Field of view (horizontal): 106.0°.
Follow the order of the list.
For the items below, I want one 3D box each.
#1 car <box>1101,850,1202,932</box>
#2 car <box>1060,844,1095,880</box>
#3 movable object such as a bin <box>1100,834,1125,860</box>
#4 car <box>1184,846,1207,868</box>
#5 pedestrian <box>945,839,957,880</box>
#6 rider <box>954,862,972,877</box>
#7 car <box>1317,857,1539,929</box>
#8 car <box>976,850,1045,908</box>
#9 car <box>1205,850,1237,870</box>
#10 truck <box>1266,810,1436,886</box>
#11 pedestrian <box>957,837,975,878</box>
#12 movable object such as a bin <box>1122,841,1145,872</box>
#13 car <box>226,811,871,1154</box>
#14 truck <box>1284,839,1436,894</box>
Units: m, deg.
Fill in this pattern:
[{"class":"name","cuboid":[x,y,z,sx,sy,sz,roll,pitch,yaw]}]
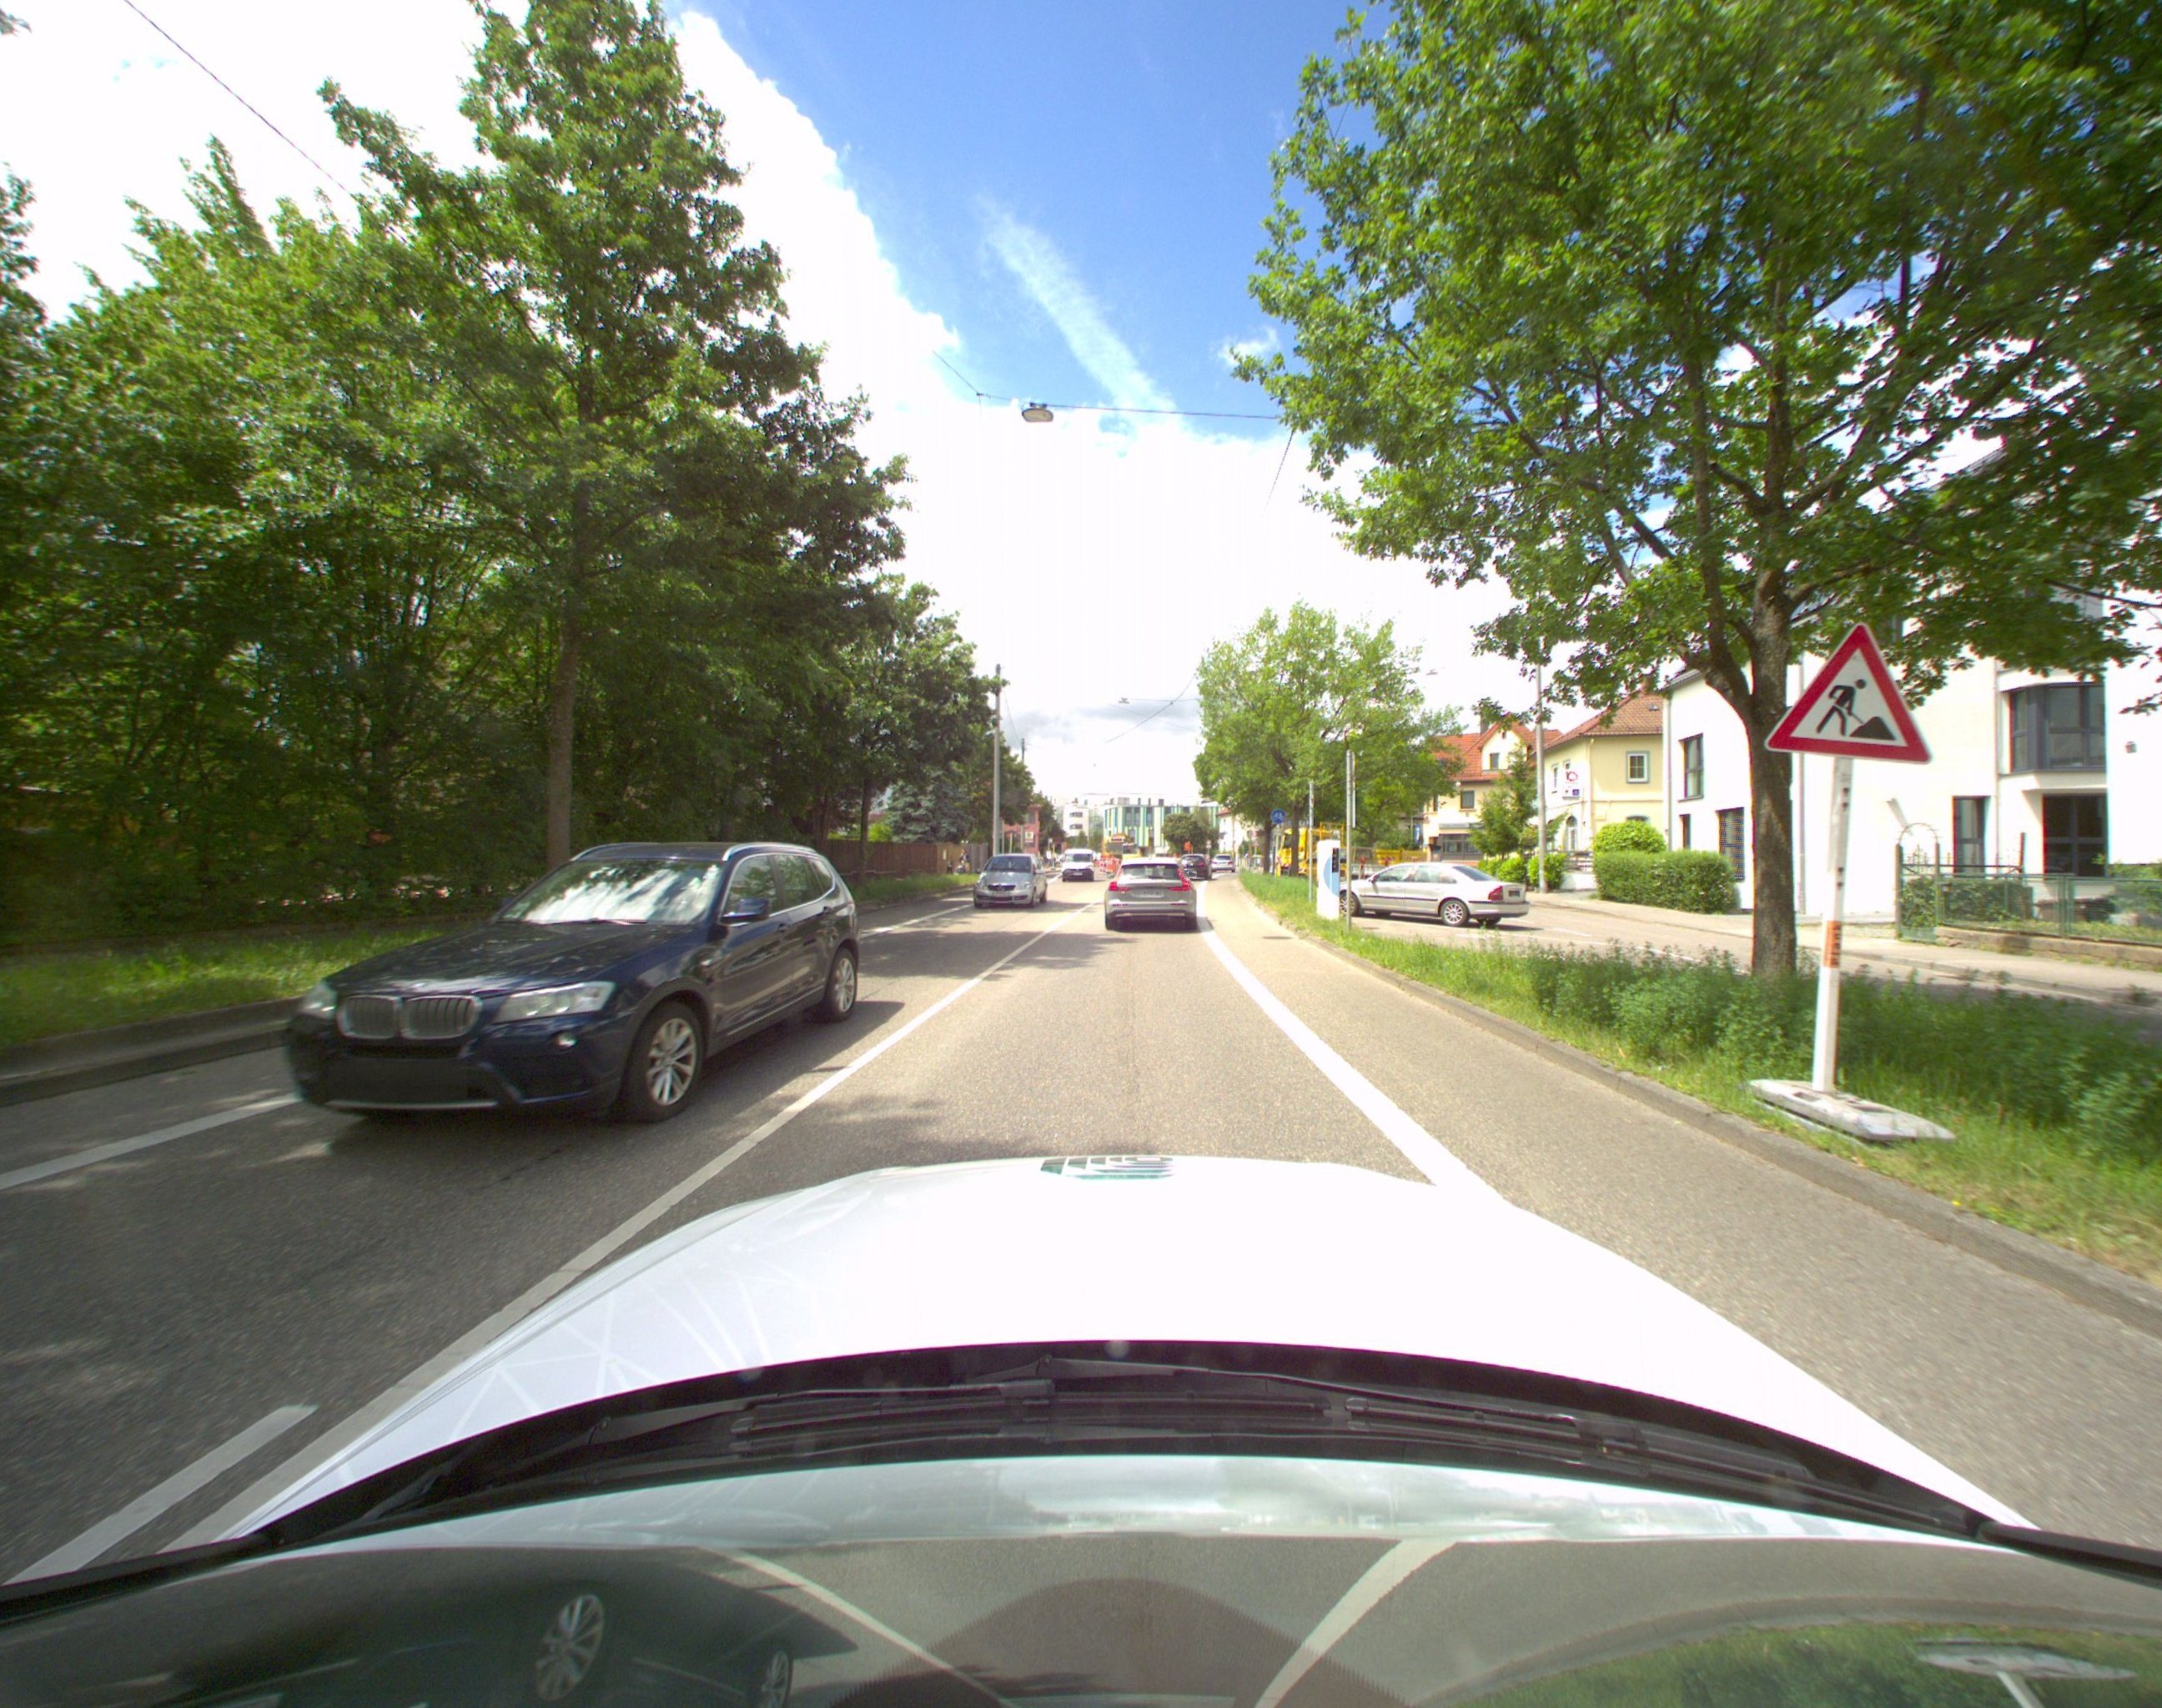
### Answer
[{"class":"car","cuboid":[1.513,0.722,17.601,1.919,1.540,4.005,-1,0,5]},{"class":"car","cuboid":[-0.160,0.471,46.133,1.842,1.875,4.593,2,-1,1]},{"class":"movable object such as a bin","cuboid":[3.746,-0.829,97.820,2.306,2.990,6.416,0,0,-4]},{"class":"car","cuboid":[11.625,0.338,82.245,1.981,2.014,4.011,3,-1,11]},{"class":"pedestrian","cuboid":[-6.620,0.283,41.403,0.400,2.014,0.415,3,-2,6]},{"class":"rider","cuboid":[-5.908,0.786,40.733,0.726,0.735,0.690,3,-1,1]},{"class":"car","cuboid":[8.230,0.856,19.713,1.777,1.451,4.635,2,0,-40]},{"class":"car","cuboid":[-2.086,0.755,25.031,1.702,1.618,4.000,0,-1,0]},{"class":"car","cuboid":[11.349,0.508,66.197,2.093,1.510,4.002,3,-1,3]},{"class":"truck","cuboid":[11.976,-0.267,36.546,2.784,3.008,6.627,4,-2,-42]},{"class":"pedestrian","cuboid":[-5.860,0.194,41.520,0.712,2.014,0.772,3,-2,2]},{"class":"movable object such as a bin","cuboid":[4.786,0.218,74.321,2.026,2.643,5.945,0,0,4]},{"class":"car","cuboid":[-3.223,0.654,6.176,1.872,1.687,4.251,-1,0,4]},{"class":"truck","cuboid":[11.237,0.466,33.190,2.009,2.014,5.613,4,-2,-39]}]
